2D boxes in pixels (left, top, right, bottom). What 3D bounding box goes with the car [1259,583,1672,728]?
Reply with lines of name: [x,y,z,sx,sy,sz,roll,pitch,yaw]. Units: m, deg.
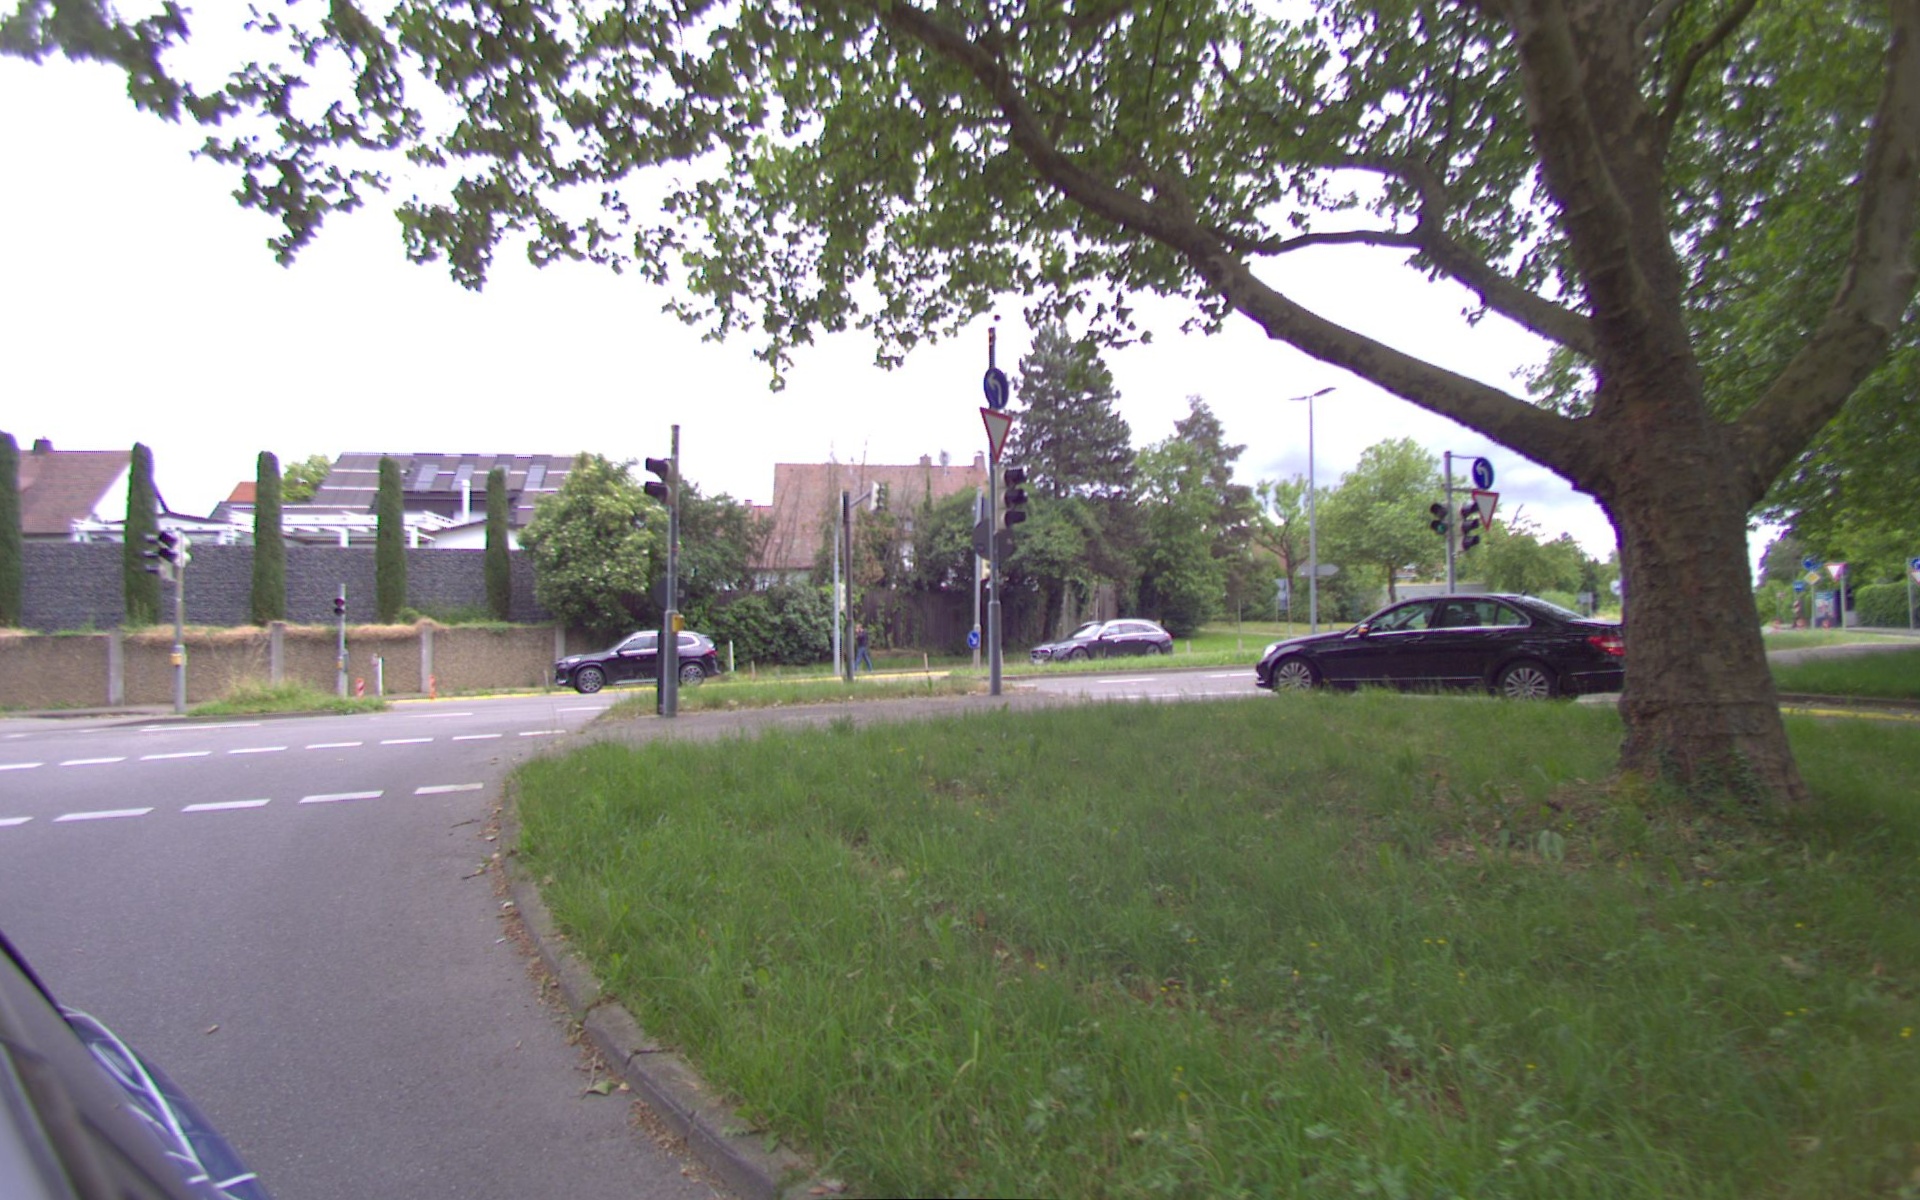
car: [6.236,0.613,12.819,4.386,1.529,1.738,-1,-1,43]

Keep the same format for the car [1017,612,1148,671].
car: [3.820,1.249,31.124,1.845,1.644,4.201,-6,-5,42]

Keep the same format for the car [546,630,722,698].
car: [-9.039,1.756,28.061,4.388,1.644,1.852,-1,-4,-26]

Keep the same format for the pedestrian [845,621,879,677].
pedestrian: [-3.667,1.833,37.898,0.841,2.029,0.954,0,-3,-38]
